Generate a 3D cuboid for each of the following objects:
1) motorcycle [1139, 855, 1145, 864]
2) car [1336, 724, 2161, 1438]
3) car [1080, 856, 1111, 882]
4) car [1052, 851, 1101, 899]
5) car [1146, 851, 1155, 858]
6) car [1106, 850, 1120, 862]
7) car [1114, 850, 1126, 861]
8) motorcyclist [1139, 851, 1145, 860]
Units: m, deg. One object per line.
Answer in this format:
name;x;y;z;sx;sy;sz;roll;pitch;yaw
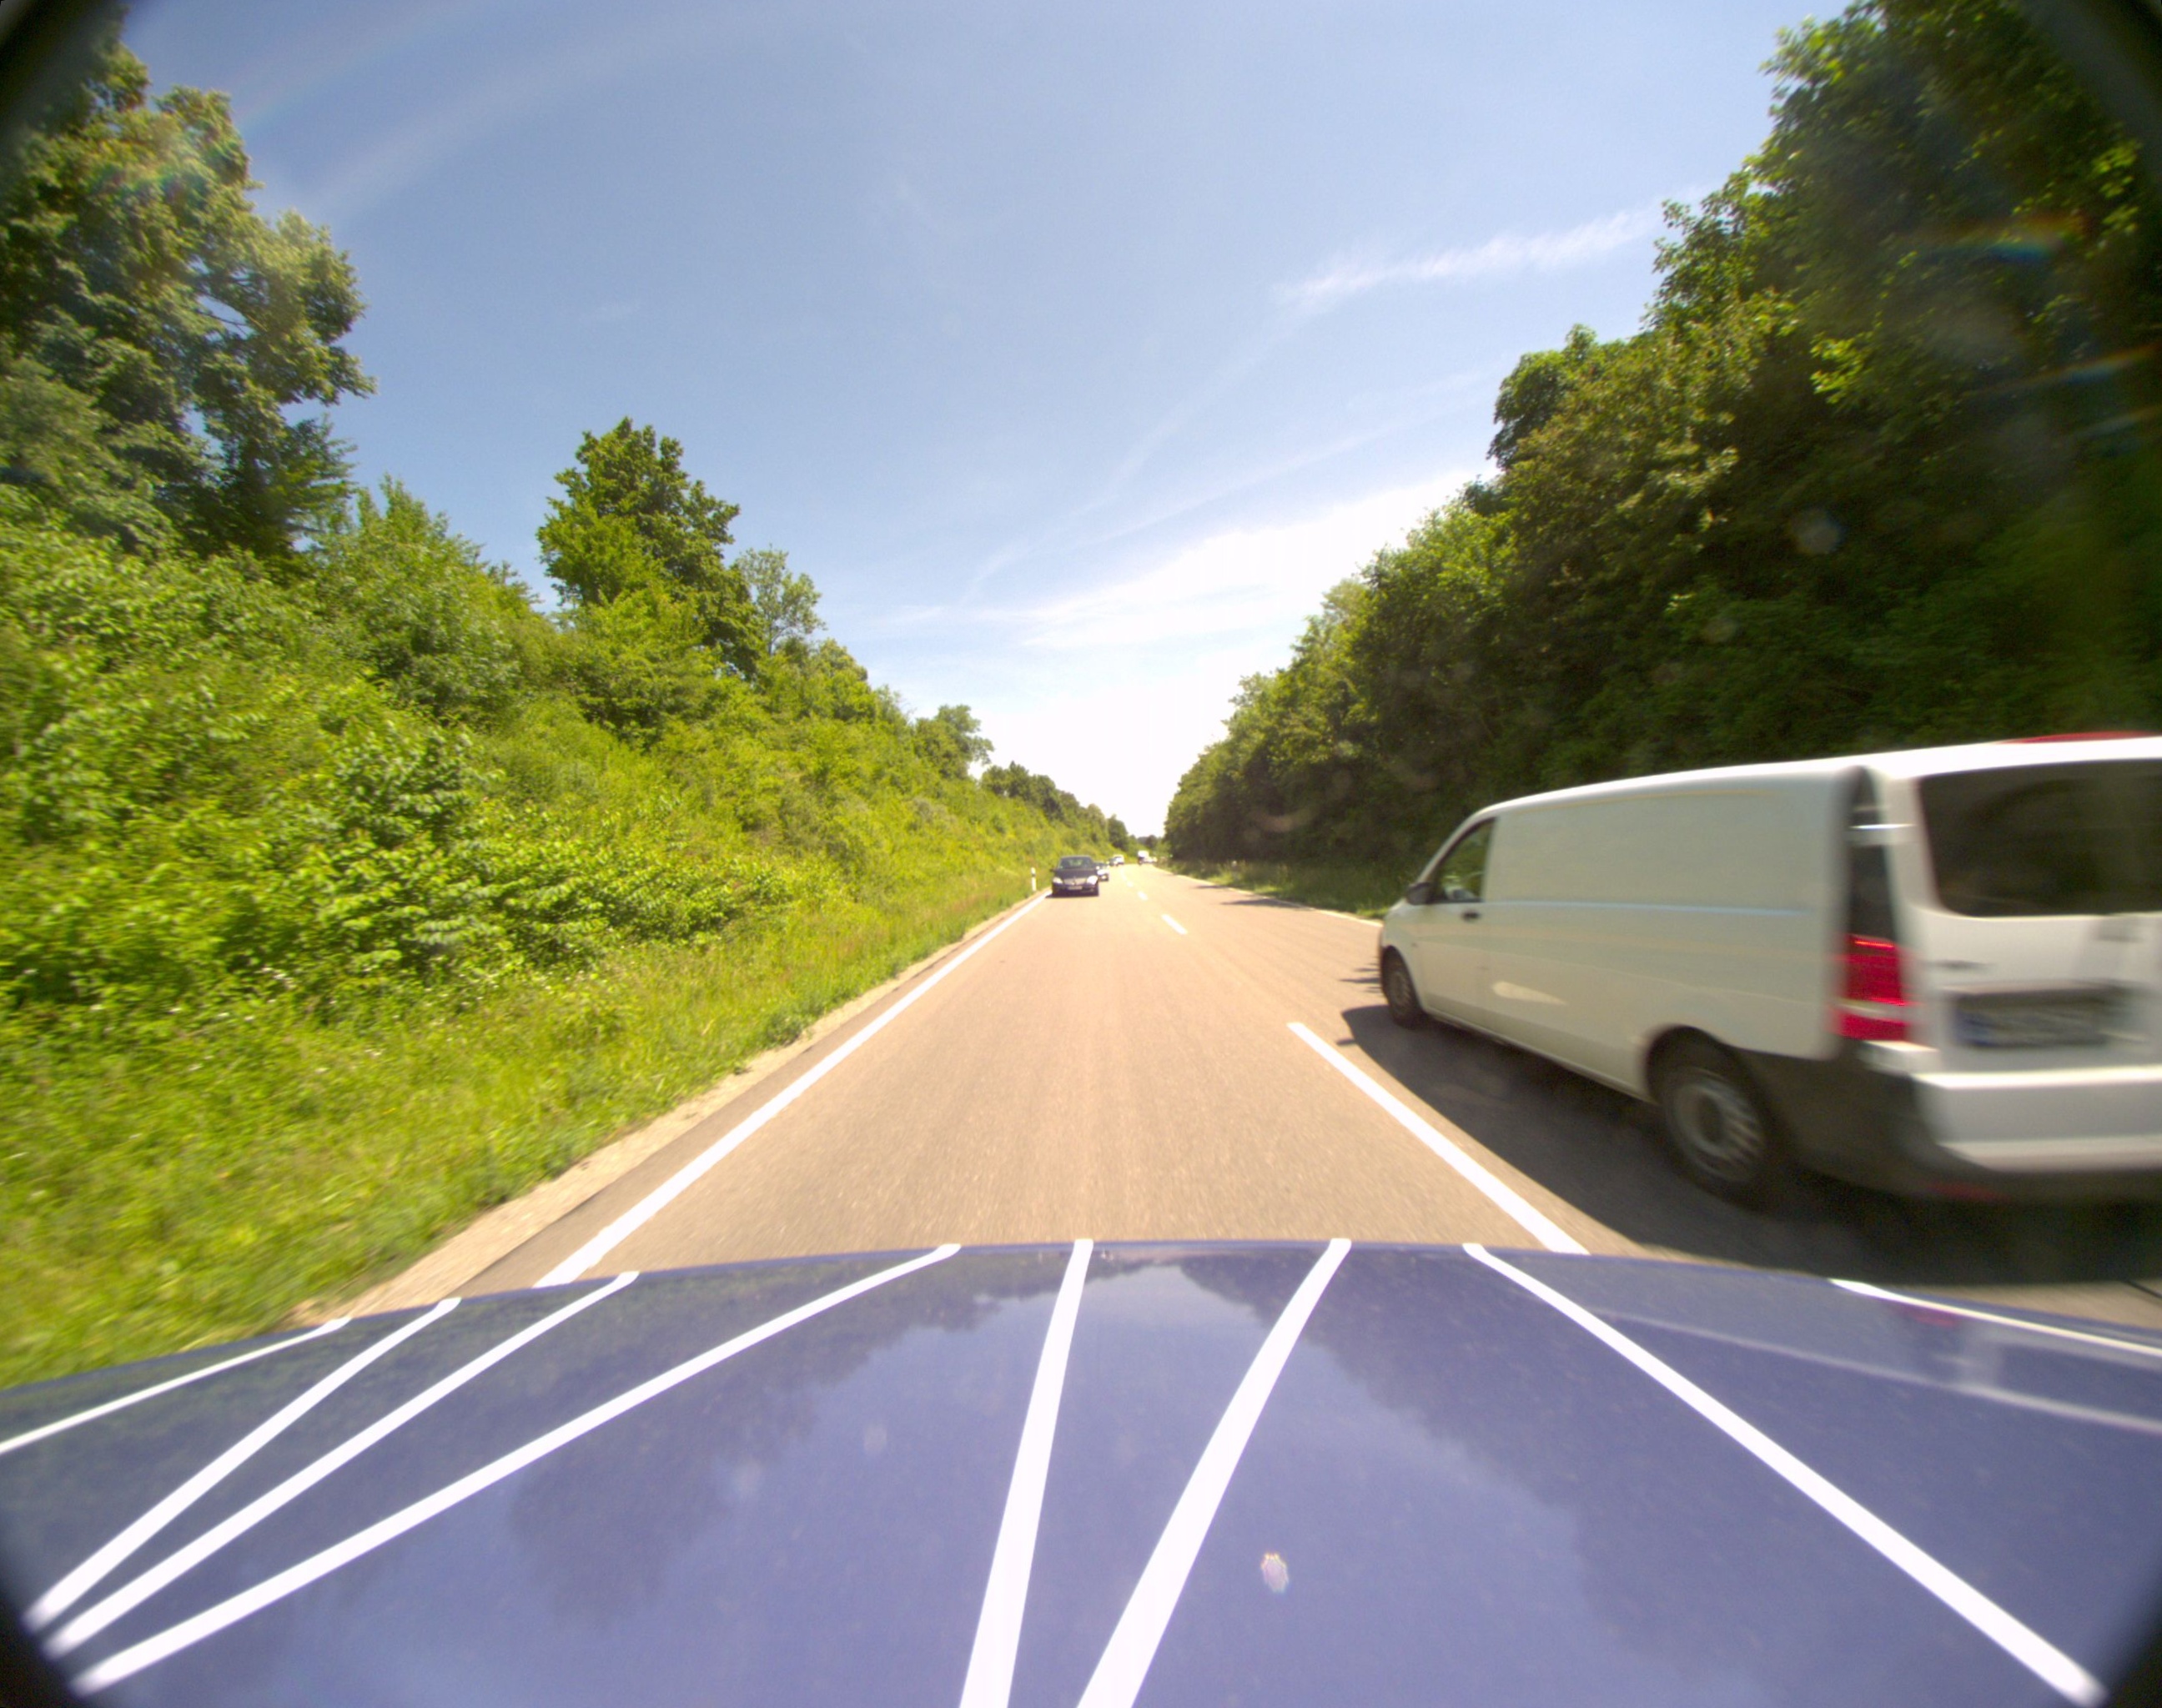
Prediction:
motorcycle;9.593;0.858;119.291;0.865;1.214;2.443;-2;0;3
car;3.423;0.576;4.676;1.936;1.894;5.327;-2;0;1
car;0.971;0.870;47.449;1.709;1.444;5.416;-2;0;3
car;-0.133;0.773;30.368;1.783;1.676;4.779;-2;0;1
car;16.119;0.066;176.169;1.681;1.452;4.760;-2;0;3
car;4.902;0.301;118.129;2.045;1.743;4.167;-2;0;2
car;7.194;0.248;139.283;1.998;2.002;4.001;-2;0;5
motorcyclist;9.576;0.238;119.321;0.851;1.429;1.074;-2;0;3
